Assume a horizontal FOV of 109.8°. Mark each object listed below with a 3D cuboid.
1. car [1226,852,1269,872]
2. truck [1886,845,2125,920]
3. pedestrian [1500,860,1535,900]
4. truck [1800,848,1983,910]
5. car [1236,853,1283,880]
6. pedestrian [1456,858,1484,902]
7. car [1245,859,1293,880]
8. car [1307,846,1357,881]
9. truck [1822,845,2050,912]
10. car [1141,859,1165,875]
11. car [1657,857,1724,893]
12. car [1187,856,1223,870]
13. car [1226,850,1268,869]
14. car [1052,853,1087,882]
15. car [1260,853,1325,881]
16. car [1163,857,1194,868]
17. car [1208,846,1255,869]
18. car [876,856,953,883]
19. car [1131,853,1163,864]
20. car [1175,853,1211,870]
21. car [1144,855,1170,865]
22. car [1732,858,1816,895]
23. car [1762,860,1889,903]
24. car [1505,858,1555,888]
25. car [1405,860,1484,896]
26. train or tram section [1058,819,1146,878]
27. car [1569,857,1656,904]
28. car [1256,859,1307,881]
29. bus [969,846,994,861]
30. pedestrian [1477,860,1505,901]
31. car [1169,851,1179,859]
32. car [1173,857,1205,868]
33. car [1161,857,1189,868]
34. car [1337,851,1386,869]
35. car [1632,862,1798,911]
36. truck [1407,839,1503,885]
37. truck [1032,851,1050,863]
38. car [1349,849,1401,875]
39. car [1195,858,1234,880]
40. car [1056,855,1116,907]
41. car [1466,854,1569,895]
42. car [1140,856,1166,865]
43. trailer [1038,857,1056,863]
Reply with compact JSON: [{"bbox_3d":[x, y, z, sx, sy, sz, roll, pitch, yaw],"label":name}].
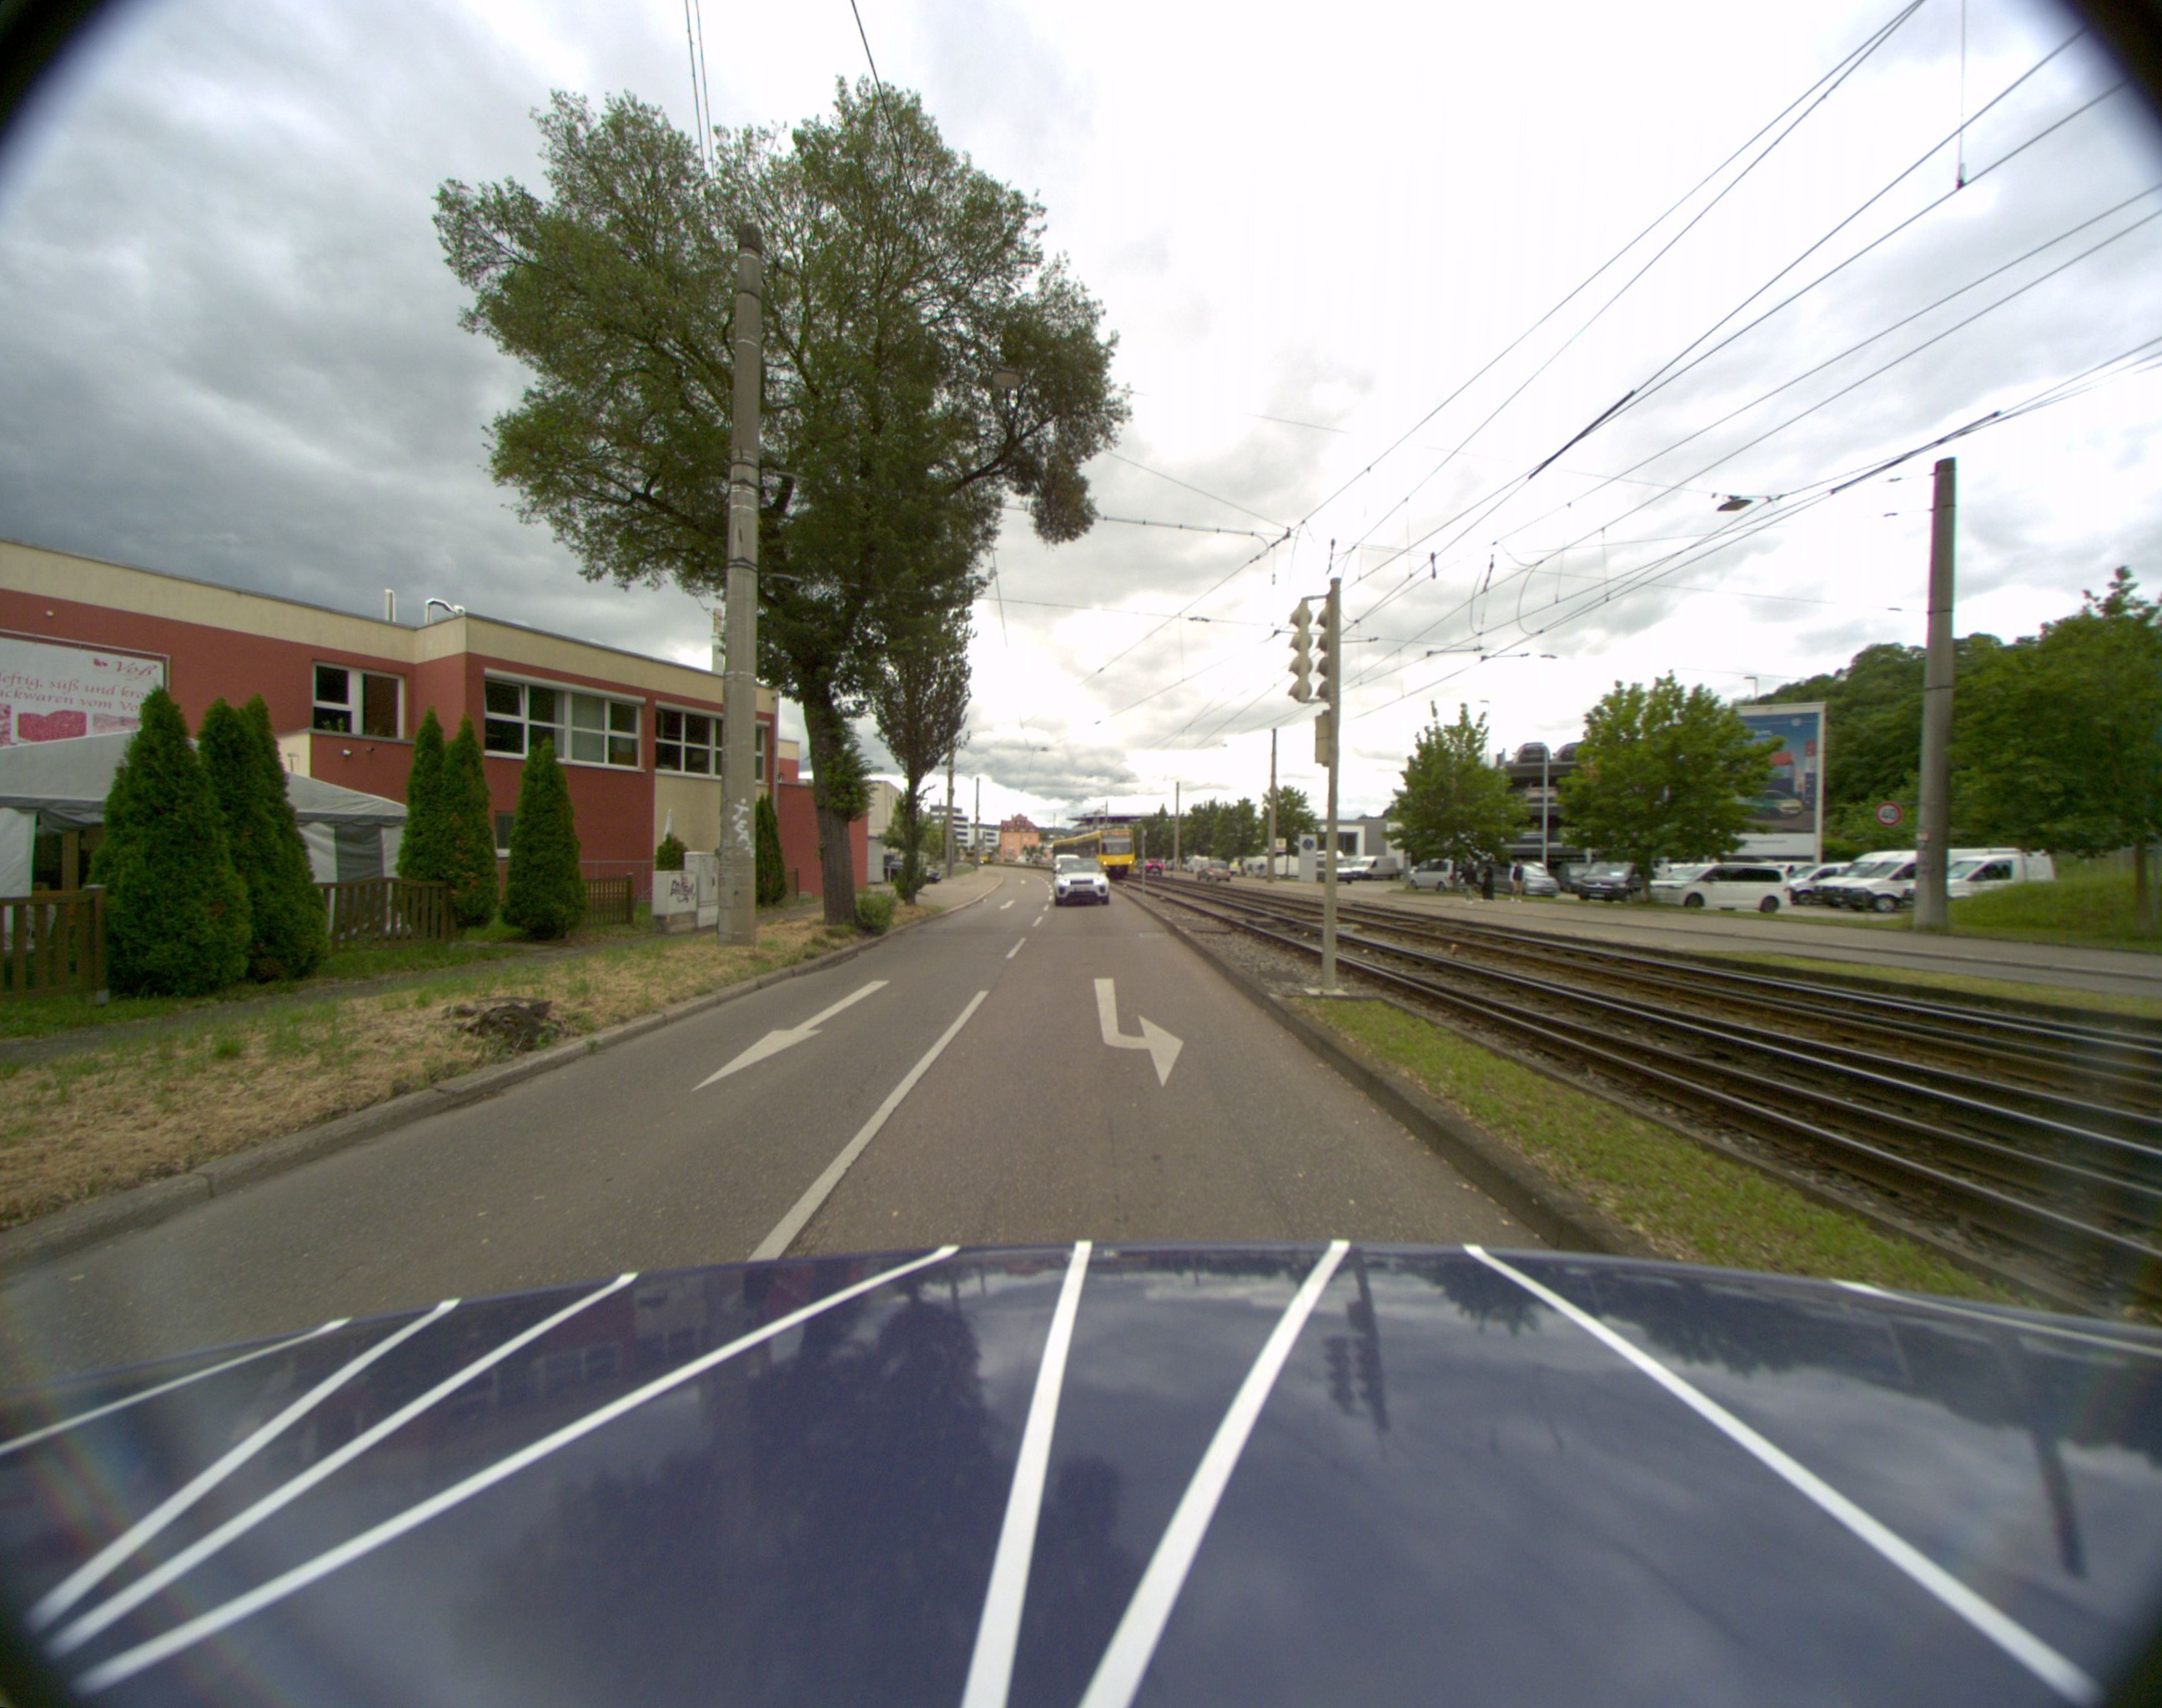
[{"bbox_3d":[18.732,0.892,85.548,4.380,2.160,2.002,0,0,-10],"label":"car"},{"bbox_3d":[34.080,0.982,28.291,5.059,2.573,2.473,1,0,25],"label":"truck"},{"bbox_3d":[18.101,1.065,31.514,0.720,1.646,1.041,-2,0,-13],"label":"pedestrian"},{"bbox_3d":[36.372,1.066,34.332,5.061,2.573,2.472,1,0,19],"label":"truck"},{"bbox_3d":[18.865,1.276,80.264,4.380,2.802,2.002,0,0,-10],"label":"car"},{"bbox_3d":[16.309,1.093,31.844,0.678,1.802,0.855,-1,0,-3],"label":"pedestrian"},{"bbox_3d":[19.263,1.600,77.877,4.380,2.093,2.002,0,0,-10],"label":"car"},{"bbox_3d":[22.254,0.826,67.623,2.114,3.001,5.934,1,0,-4],"label":"car"},{"bbox_3d":[34.986,0.942,31.383,5.764,2.573,2.472,1,0,21],"label":"truck"},{"bbox_3d":[7.521,1.304,79.739,1.692,1.523,4.254,4,0,-6],"label":"car"},{"bbox_3d":[35.797,1.175,44.732,1.995,2.001,4.476,1,0,24],"label":"car"},{"bbox_3d":[16.671,1.244,102.497,4.378,1.834,2.003,0,0,-5],"label":"car"},{"bbox_3d":[19.244,0.643,88.209,4.380,2.160,2.002,0,0,-10],"label":"car"},{"bbox_3d":[-0.836,0.919,52.587,2.000,1.881,4.624,1,0,-6],"label":"car"},{"bbox_3d":[20.226,1.238,72.741,5.489,2.587,2.245,0,0,-6],"label":"car"},{"bbox_3d":[14.703,1.281,114.813,4.380,1.608,2.003,0,0,-8],"label":"car"},{"bbox_3d":[17.947,0.423,90.615,4.982,2.683,2.113,0,0,-10],"label":"car"},{"bbox_3d":[-10.037,0.903,45.786,4.223,1.434,1.766,3,1,22],"label":"car"},{"bbox_3d":[12.305,0.778,141.175,5.704,1.996,2.146,1,0,12],"label":"car"},{"bbox_3d":[15.403,0.980,104.668,4.510,2.298,2.124,0,0,-5],"label":"car"},{"bbox_3d":[12.984,1.002,129.789,4.190,1.608,2.062,0,0,-4],"label":"car"},{"bbox_3d":[39.520,1.276,43.312,4.284,2.001,1.996,0,-1,-25],"label":"car"},{"bbox_3d":[36.451,1.312,37.316,3.993,2.002,2.002,0,0,11],"label":"car"},{"bbox_3d":[28.696,1.199,48.725,1.995,1.820,4.475,1,0,21],"label":"car"},{"bbox_3d":[22.097,1.408,46.481,2.000,2.002,4.915,1,0,-8],"label":"car"},{"bbox_3d":[1.211,-0.459,61.091,3.400,3.984,16.925,-1,1,-11],"label":"train or tram section"},{"bbox_3d":[24.379,1.149,34.770,5.083,2.002,2.160,1,0,-42],"label":"car"},{"bbox_3d":[19.930,1.563,75.578,4.380,2.093,2.002,0,0,-10],"label":"car"},{"bbox_3d":[-27.963,-0.221,213.243,3.566,3.930,10.468,-1,2,-27],"label":"bus"},{"bbox_3d":[17.218,1.109,31.916,0.630,1.703,0.855,-1,0,-3],"label":"pedestrian"},{"bbox_3d":[22.344,0.255,182.322,1.996,2.002,4.005,1,0,14],"label":"car"},{"bbox_3d":[15.831,1.253,111.780,4.378,1.676,2.003,0,0,-5],"label":"car"},{"bbox_3d":[14.521,1.263,117.146,3.998,1.608,1.999,0,0,-4],"label":"car"},{"bbox_3d":[32.181,0.698,87.212,4.857,2.002,1.999,1,0,-4],"label":"car"},{"bbox_3d":[25.174,1.251,30.260,5.071,1.877,2.165,0,0,-6],"label":"car"},{"bbox_3d":[26.272,0.540,53.668,5.924,3.067,2.123,1,0,24],"label":"truck"},{"bbox_3d":[-10.340,0.800,195.620,3.119,2.904,8.950,3,-1,-14],"label":"truck"},{"bbox_3d":[30.476,0.834,78.644,5.964,2.587,1.999,1,0,-35],"label":"car"},{"bbox_3d":[10.051,1.127,57.581,1.896,1.523,4.254,4,0,-4],"label":"car"},{"bbox_3d":[0.119,0.903,27.528,1.999,1.718,3.999,-1,0,-1],"label":"car"},{"bbox_3d":[22.893,1.012,40.123,2.000,2.002,5.126,1,0,-7],"label":"car"},{"bbox_3d":[12.851,1.129,136.004,4.349,1.608,2.153,0,0,-4],"label":"car"},{"bbox_3d":[-8.415,1.460,187.856,3.060,1.270,6.998,3,-1,-13],"label":"trailer"}]
